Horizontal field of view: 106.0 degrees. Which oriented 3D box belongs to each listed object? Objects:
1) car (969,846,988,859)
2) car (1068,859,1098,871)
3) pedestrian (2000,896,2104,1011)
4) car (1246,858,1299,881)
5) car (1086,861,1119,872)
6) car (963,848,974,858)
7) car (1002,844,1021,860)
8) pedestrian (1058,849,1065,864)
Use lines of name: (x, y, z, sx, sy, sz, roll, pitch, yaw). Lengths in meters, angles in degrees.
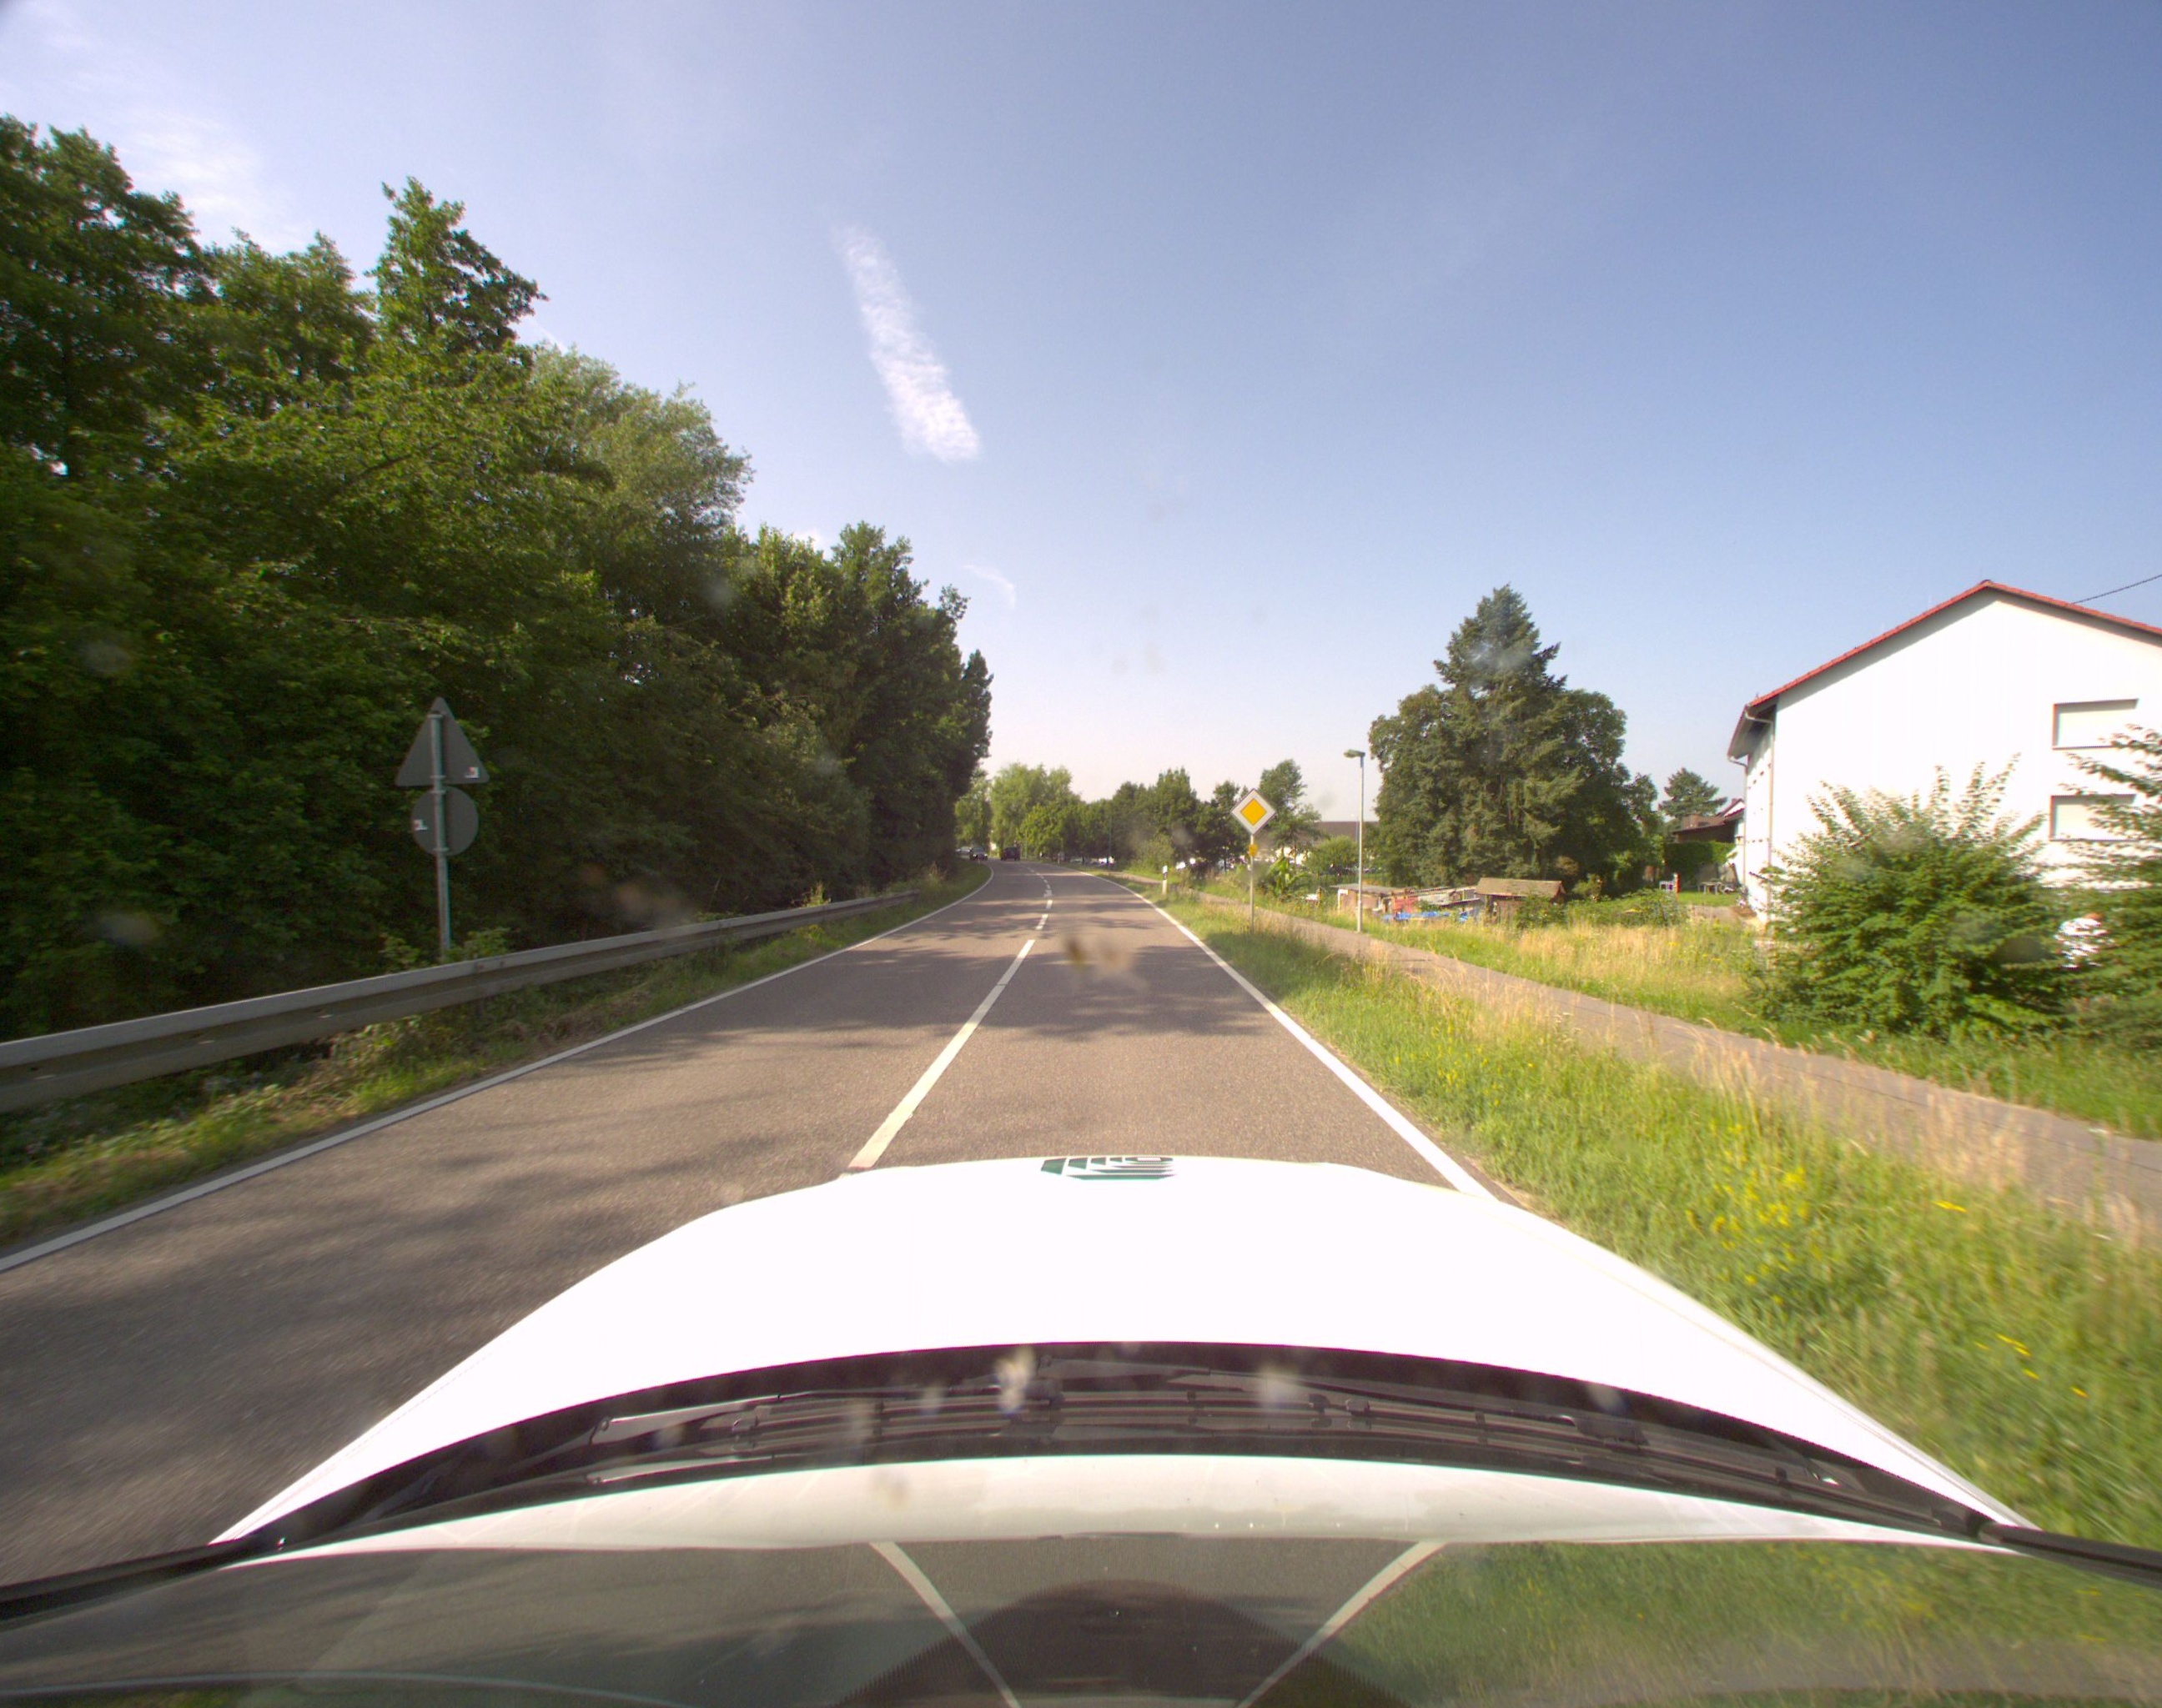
car: (-12.686, -0.165, 100.864, 1.755, 1.474, 3.978, 1, 1, -17)
car: (0.296, 1.649, 122.161, 4.234, 1.679, 1.884, 0, 0, -10)
pedestrian: (14.192, 1.443, 11.921, 0.454, 1.617, 0.690, 0, -7, -14)
car: (22.952, 1.794, 97.616, 5.710, 2.667, 2.422, 0, 0, 38)
car: (2.918, 1.756, 111.204, 4.257, 1.471, 1.840, 0, 0, -7)
car: (-21.461, -0.272, 155.295, 2.001, 1.771, 3.993, 1, 1, -6)
car: (-8.223, -0.239, 96.361, 1.925, 1.771, 3.987, 1, 1, -10)
pedestrian: (-2.219, 0.269, 92.619, 0.751, 1.775, 0.973, 0, 0, 1)
